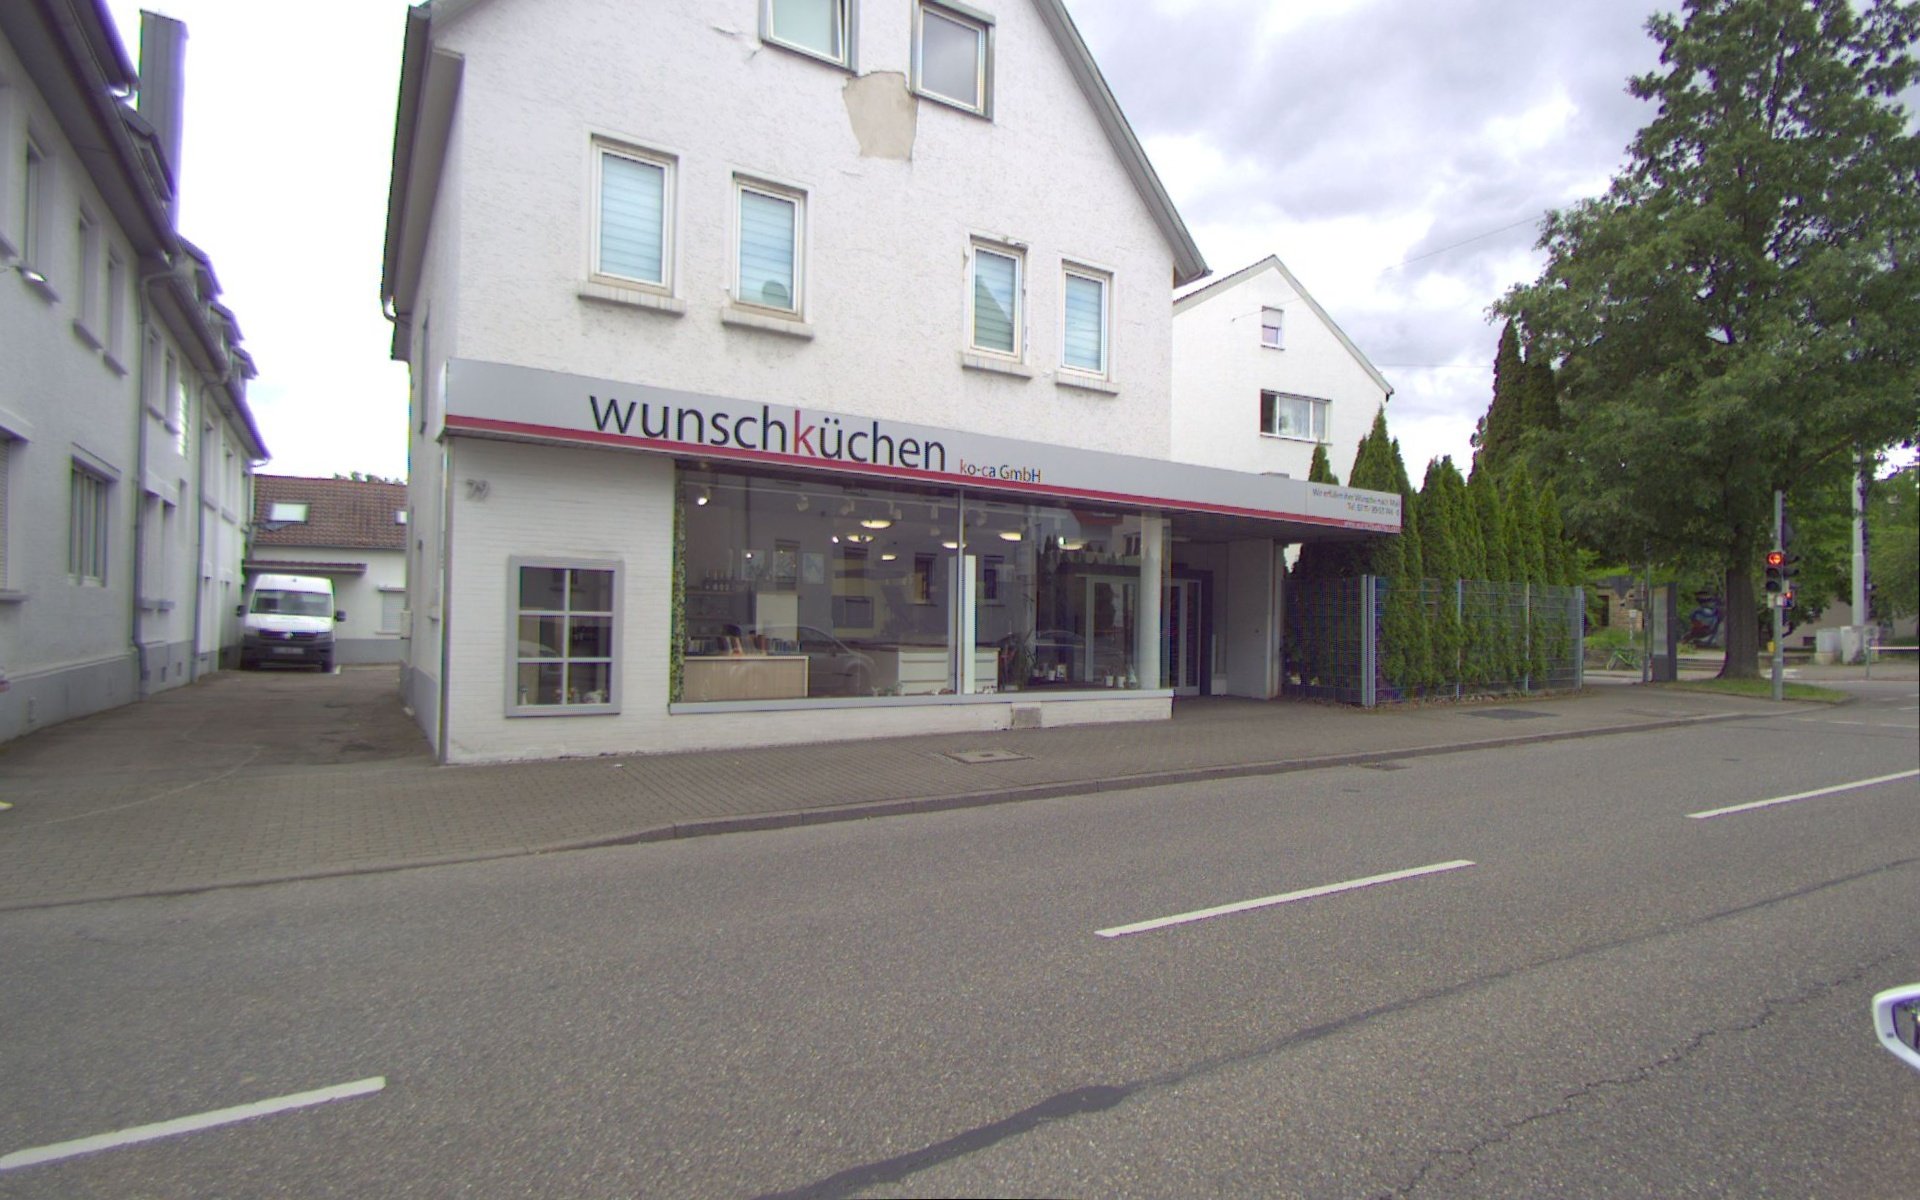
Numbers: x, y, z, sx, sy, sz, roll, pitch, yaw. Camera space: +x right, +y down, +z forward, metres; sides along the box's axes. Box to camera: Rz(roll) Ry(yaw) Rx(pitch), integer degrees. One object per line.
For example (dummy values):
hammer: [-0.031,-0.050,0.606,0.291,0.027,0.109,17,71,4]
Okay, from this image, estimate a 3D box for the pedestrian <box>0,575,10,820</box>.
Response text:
pedestrian: [-6.649,0.662,6.341,0.784,1.638,0.747,1,2,-31]

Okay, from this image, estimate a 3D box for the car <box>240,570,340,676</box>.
car: [-18.323,0.582,27.691,1.938,2.541,5.943,4,-2,-32]

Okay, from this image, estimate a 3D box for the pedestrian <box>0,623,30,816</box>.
pedestrian: [-6.987,0.821,6.972,0.647,1.297,0.596,1,1,-31]
